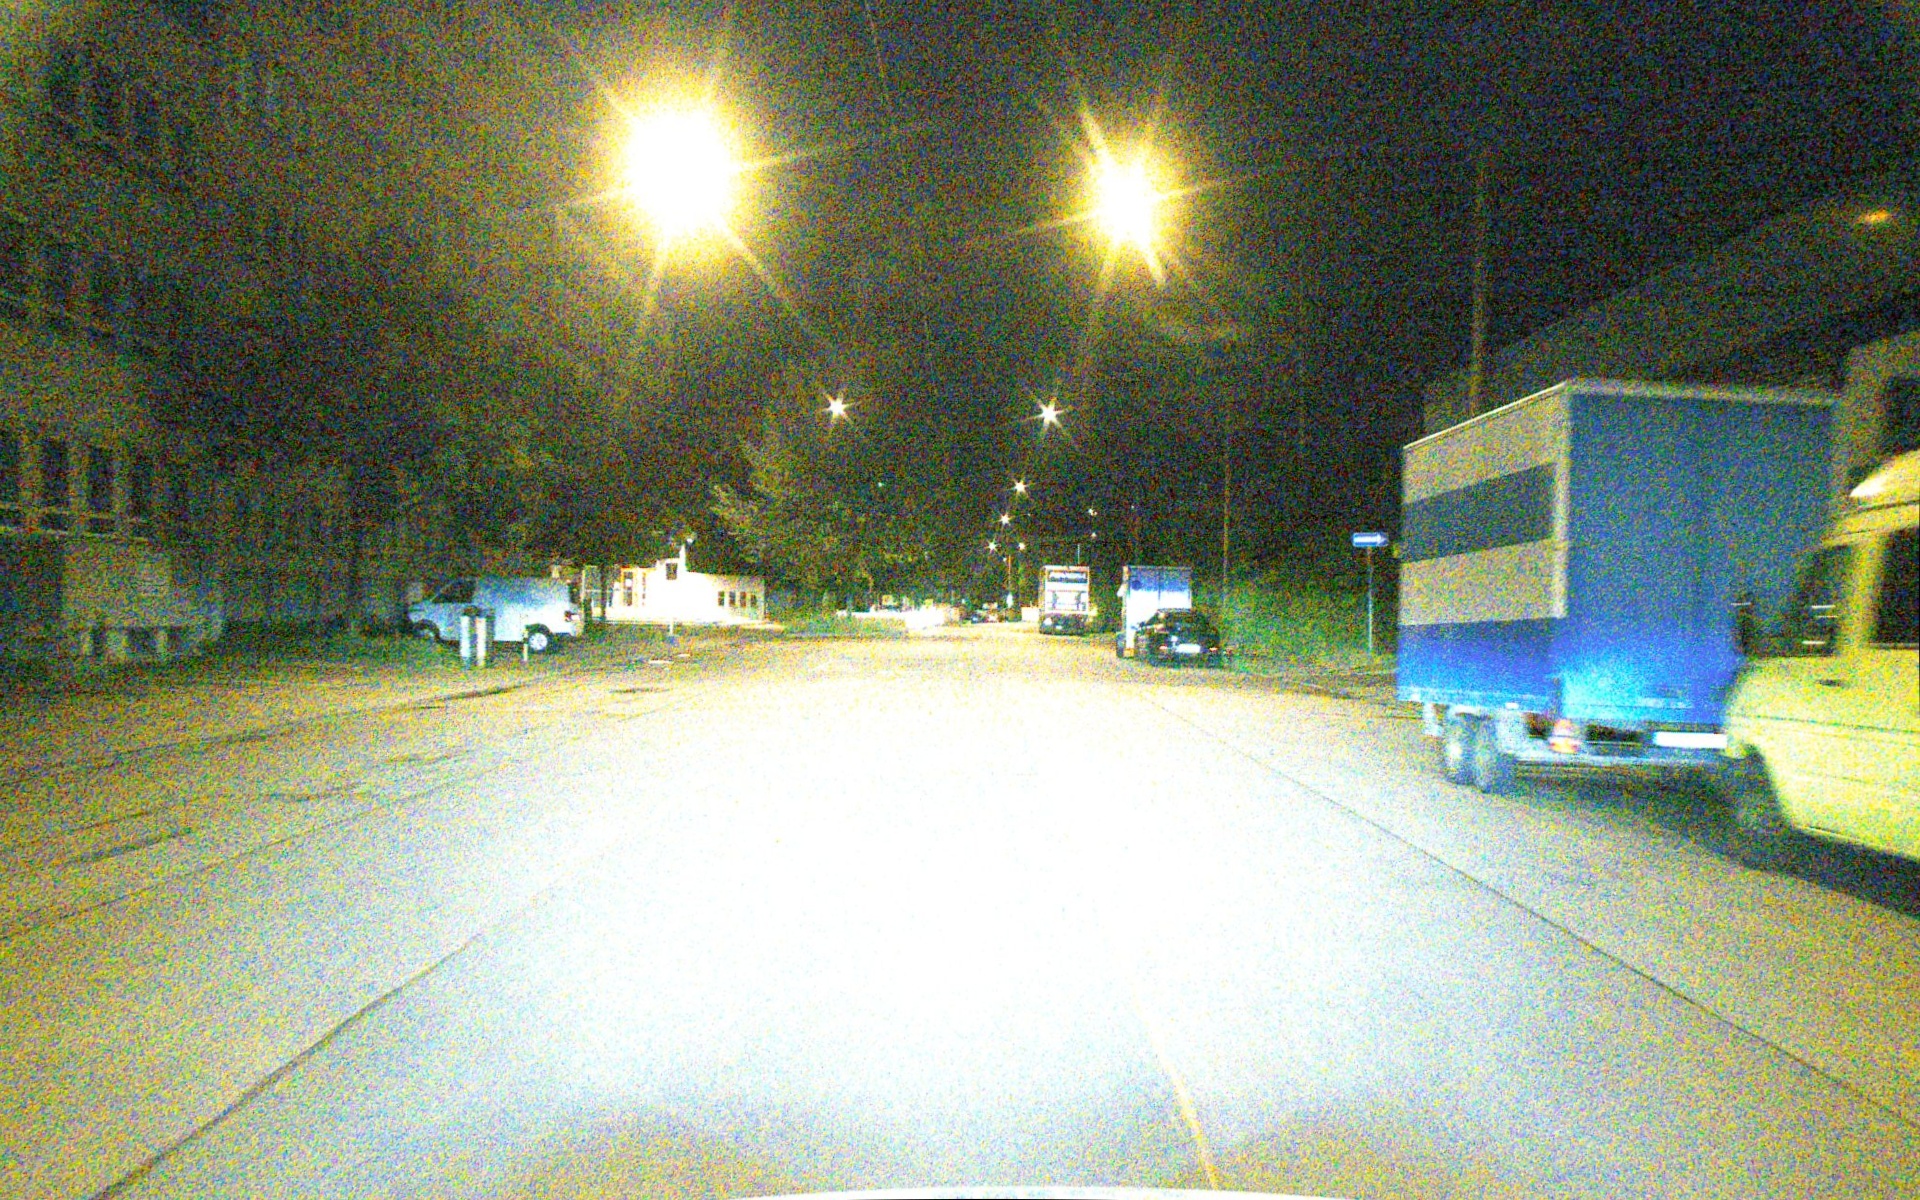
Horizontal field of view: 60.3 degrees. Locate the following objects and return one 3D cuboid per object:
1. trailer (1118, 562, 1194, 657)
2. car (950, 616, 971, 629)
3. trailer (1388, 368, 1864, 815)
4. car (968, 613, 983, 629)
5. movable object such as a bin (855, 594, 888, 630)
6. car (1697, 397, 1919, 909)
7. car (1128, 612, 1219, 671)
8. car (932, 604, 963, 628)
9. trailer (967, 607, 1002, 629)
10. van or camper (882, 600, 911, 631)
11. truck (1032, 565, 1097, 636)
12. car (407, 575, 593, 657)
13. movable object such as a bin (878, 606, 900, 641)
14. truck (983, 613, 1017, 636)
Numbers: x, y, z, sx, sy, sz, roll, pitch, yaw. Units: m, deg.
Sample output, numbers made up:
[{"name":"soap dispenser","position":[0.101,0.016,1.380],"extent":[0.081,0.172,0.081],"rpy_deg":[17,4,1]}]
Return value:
[{"name":"trailer","position":[5.892,0.293,50.086],"extent":[1.952,2.697,4.001],"rpy_deg":[2,0,3]},{"name":"car","position":[0.100,3.340,243.287],"extent":[1.951,1.729,4.208],"rpy_deg":[1,-2,15]},{"name":"trailer","position":[5.722,-0.053,14.958],"extent":[2.350,3.384,4.360],"rpy_deg":[2,0,-2]},{"name":"car","position":[1.831,2.444,191.063],"extent":[1.685,1.690,4.000],"rpy_deg":[2,-2,1]},{"name":"movable object such as a bin","position":[-6.216,0.851,115.652],"extent":[1.525,2.511,2.823],"rpy_deg":[0,-1,-20]},{"name":"car","position":[5.807,0.284,7.602],"extent":[1.901,2.592,6.646],"rpy_deg":[2,0,1]},{"name":"car","position":[5.636,1.070,44.103],"extent":[1.691,1.411,4.675],"rpy_deg":[2,0,-1]},{"name":"car","position":[-1.714,2.261,227.627],"extent":[2.465,3.227,7.142],"rpy_deg":[-1,-1,14]},{"name":"trailer","position":[2.581,1.926,176.282],"extent":[1.540,2.199,5.176],"rpy_deg":[0,-2,-26]},{"name":"van or camper","position":[-6.581,1.687,172.935],"extent":[2.467,3.149,7.446],"rpy_deg":[-1,-1,2]},{"name":"truck","position":[6.109,0.104,98.408],"extent":[3.256,3.936,9.327],"rpy_deg":[2,-1,0]},{"name":"car","position":[-12.233,0.414,44.213],"extent":[4.341,2.006,2.000],"rpy_deg":[2,0,0]},{"name":"movable object such as a bin","position":[-5.807,1.925,135.237],"extent":[1.540,2.782,3.696],"rpy_deg":[-2,0,-6]},{"name":"truck","position":[6.273,3.857,258.874],"extent":[1.954,3.463,8.974],"rpy_deg":[1,0,24]}]
